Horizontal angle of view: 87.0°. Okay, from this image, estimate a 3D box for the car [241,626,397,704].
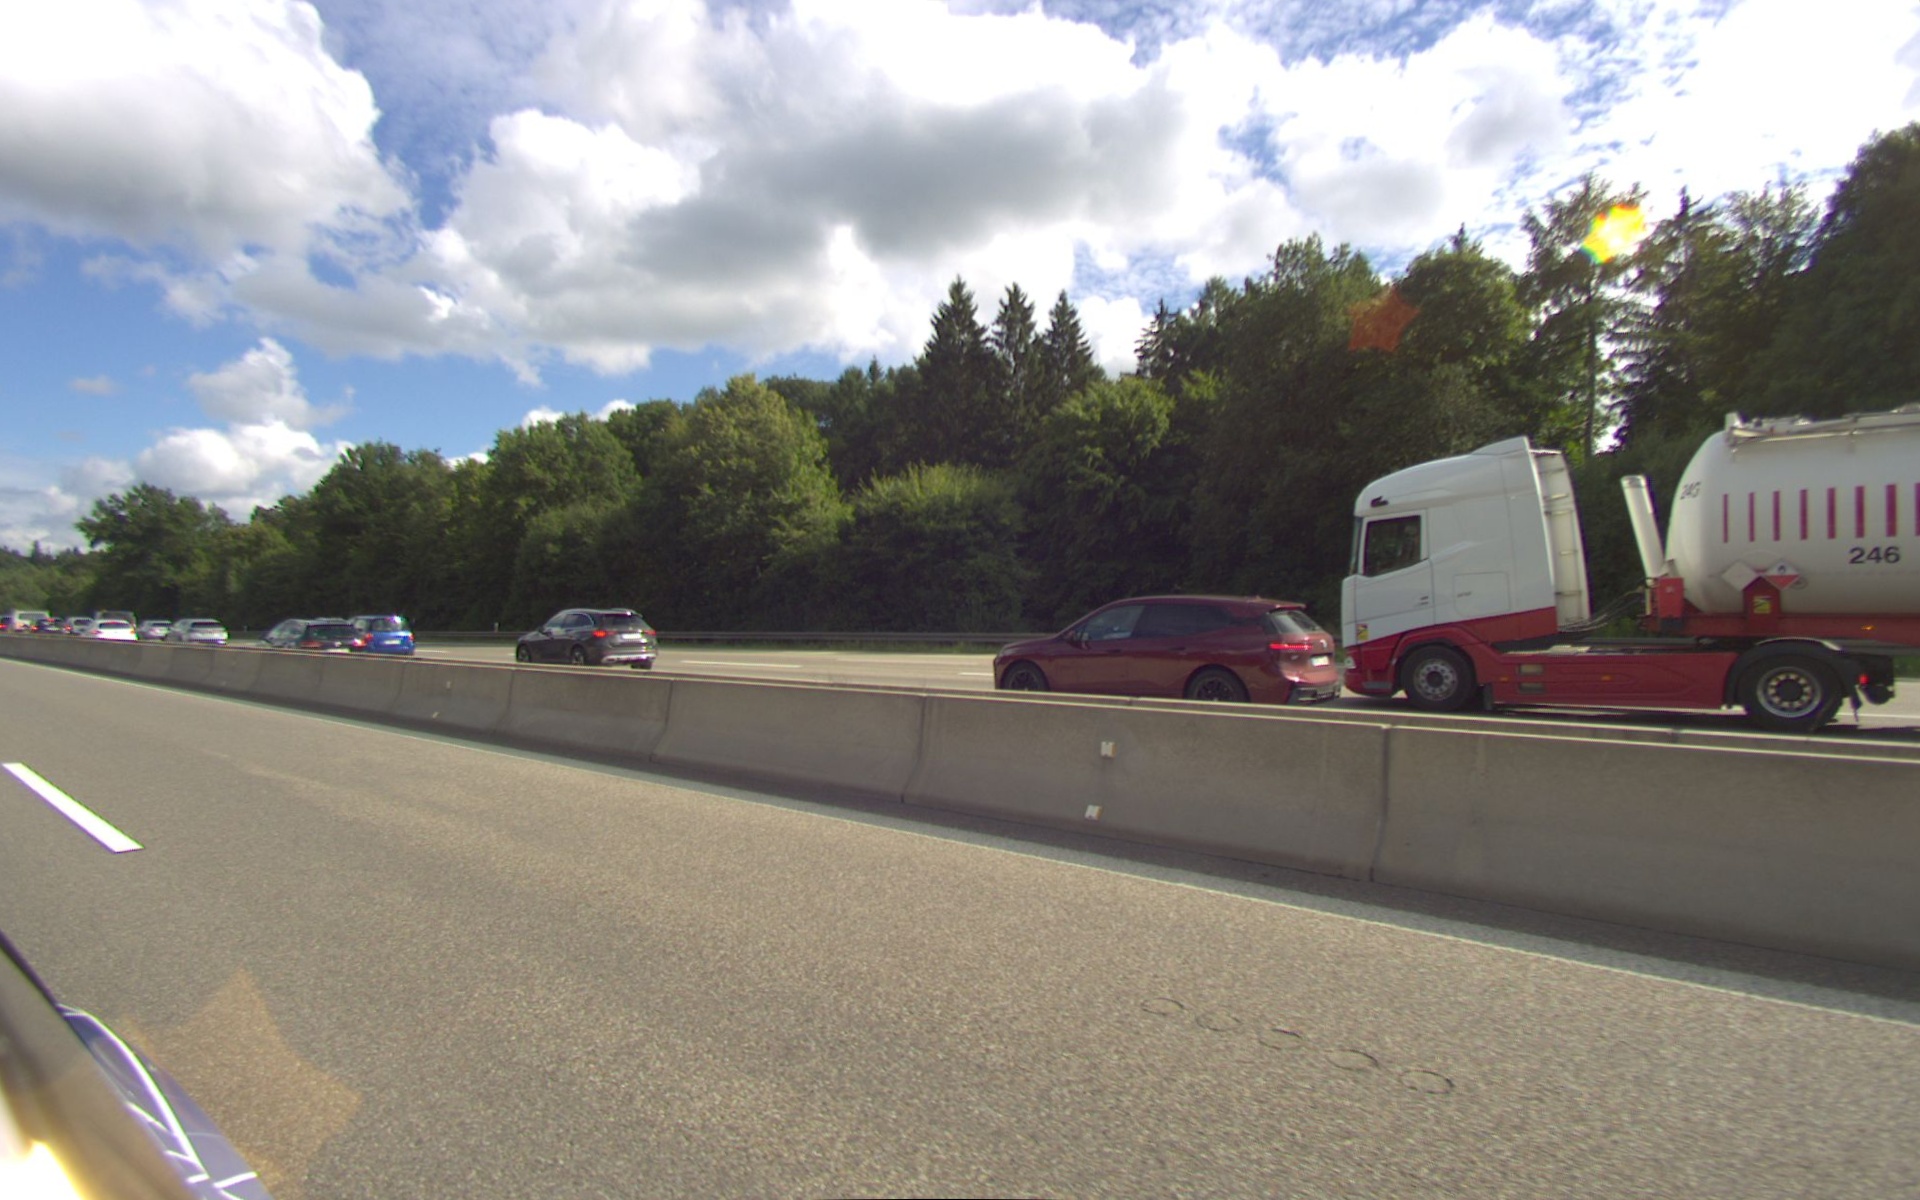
[{"bbox_3d":[-17.229,1.662,27.098,4.977,1.892,2.149,-1,-3,41],"label":"car"}]

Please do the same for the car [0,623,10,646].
[{"bbox_3d":[-71.929,2.564,74.861,4.547,1.630,1.973,-1,-1,41],"label":"car"}]

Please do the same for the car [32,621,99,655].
[{"bbox_3d":[-50.017,2.104,56.551,4.873,1.815,2.149,-1,-1,41],"label":"car"}]

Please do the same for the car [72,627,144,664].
[{"bbox_3d":[-40.150,2.102,47.671,4.239,1.653,1.893,-1,-3,41],"label":"car"}]

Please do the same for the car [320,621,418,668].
[{"bbox_3d":[-20.656,1.522,35.331,3.994,1.523,1.613,-1,-1,38],"label":"car"}]

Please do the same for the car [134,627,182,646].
[{"bbox_3d":[-56.618,2.554,71.421,4.547,1.312,1.846,-1,-1,41],"label":"car"}]

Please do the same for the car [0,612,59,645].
[{"bbox_3d":[-59.098,1.828,64.185,5.819,2.029,2.136,-2,-3,41],"label":"car"}]

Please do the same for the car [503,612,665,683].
[{"bbox_3d":[-9.688,1.160,25.866,4.745,1.632,1.840,-1,-1,41],"label":"car"}]

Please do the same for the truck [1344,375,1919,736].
[{"bbox_3d":[9.166,-0.434,14.240,6.443,3.975,2.758,-1,-1,42],"label":"truck"}]

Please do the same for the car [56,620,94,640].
[{"bbox_3d":[-82.991,2.789,94.859,5.338,1.865,1.930,-1,-1,41],"label":"car"}]

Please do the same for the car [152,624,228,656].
[{"bbox_3d":[-37.966,1.936,49.850,5.128,1.496,1.973,-1,-1,41],"label":"car"}]

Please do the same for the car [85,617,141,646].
[{"bbox_3d":[-54.232,2.003,64.783,5.122,1.819,1.973,-1,-1,41],"label":"car"}]

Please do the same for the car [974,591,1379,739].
[{"bbox_3d":[2.776,0.789,13.912,5.208,1.683,1.836,-1,-1,41],"label":"car"}]

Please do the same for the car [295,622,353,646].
[{"bbox_3d":[-44.934,2.369,71.502,4.873,1.649,2.149,-1,-1,41],"label":"car"}]

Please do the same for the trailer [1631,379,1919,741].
[{"bbox_3d":[14.051,-0.500,9.834,12.248,3.975,2.758,-1,-1,42],"label":"trailer"}]

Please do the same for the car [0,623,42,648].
[{"bbox_3d":[-63.087,2.356,67.550,4.547,1.630,2.149,-1,-1,41],"label":"car"}]
